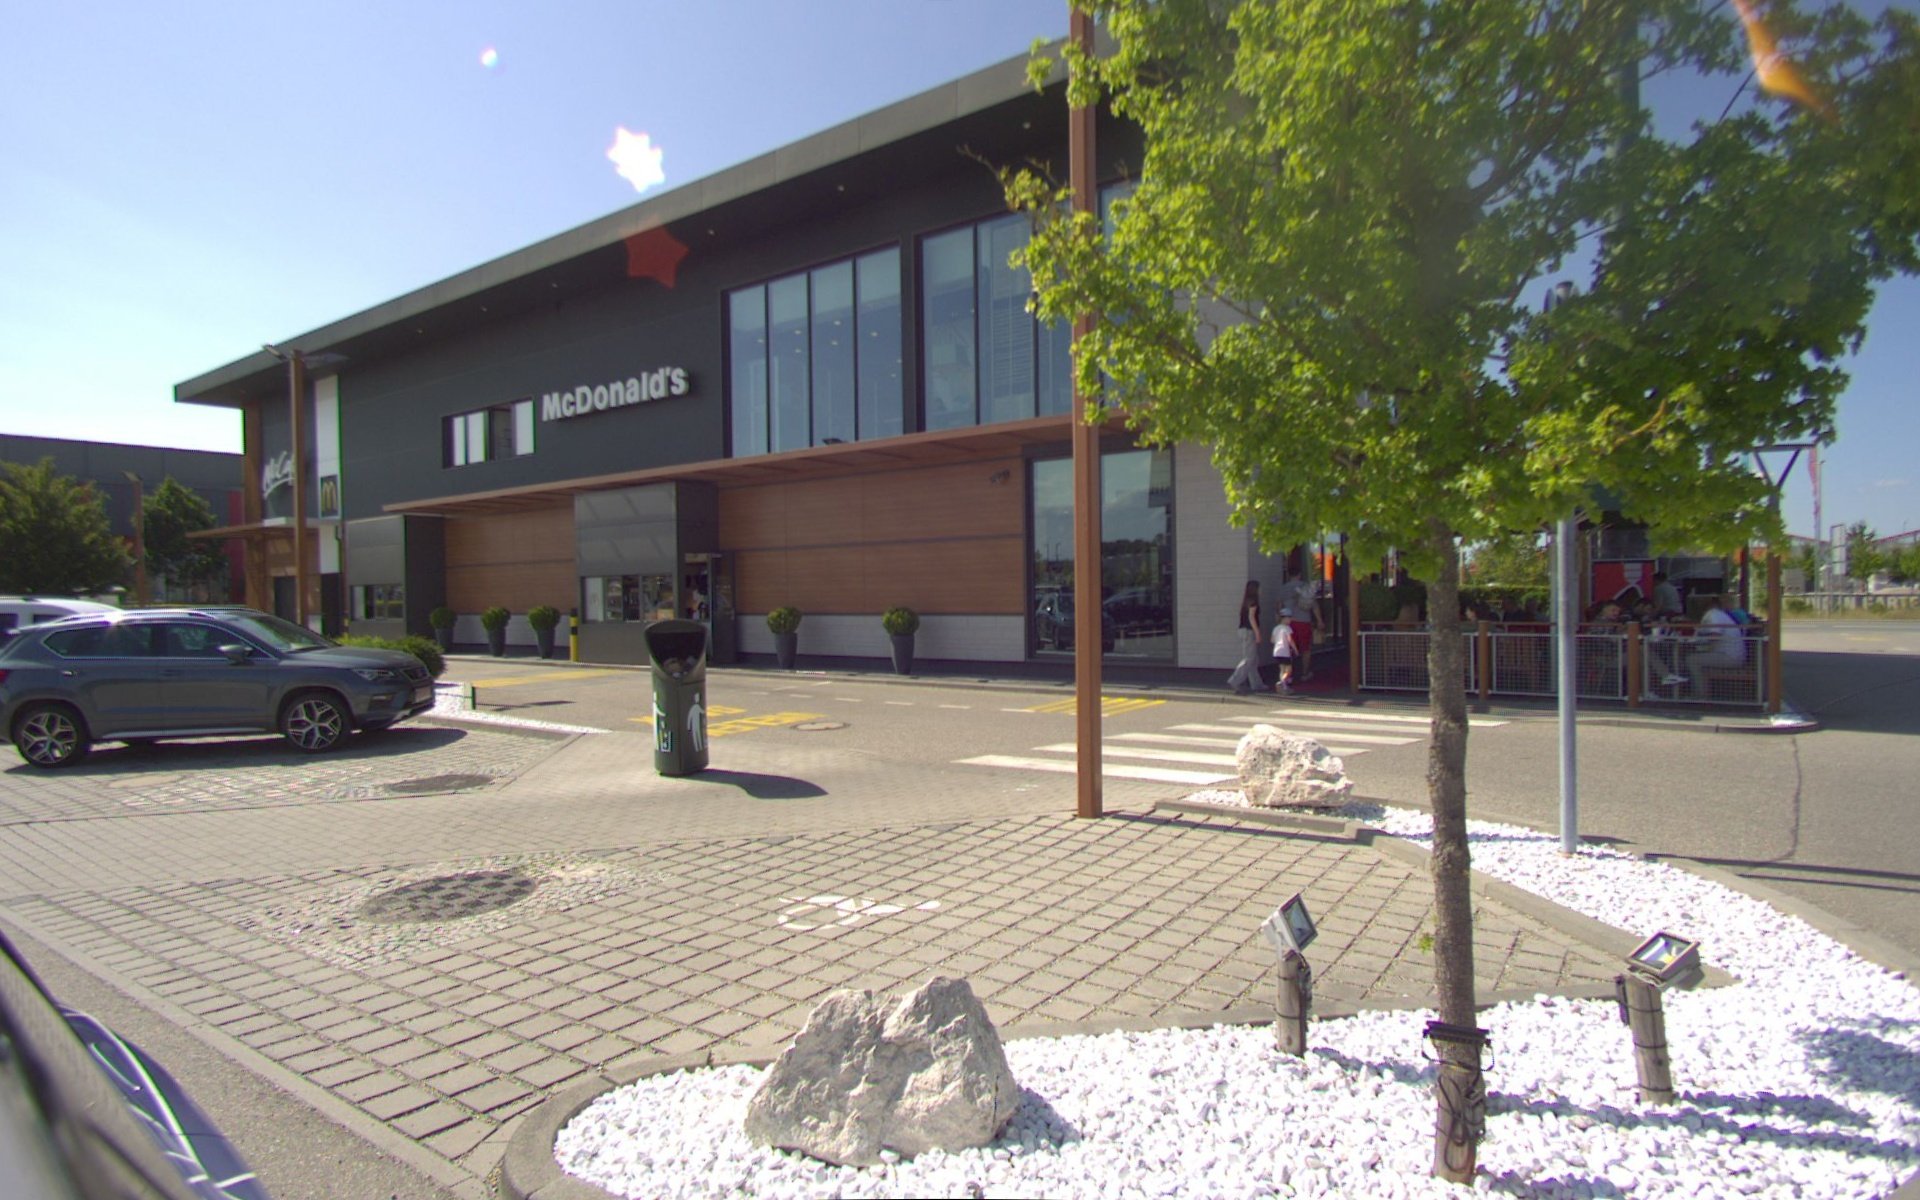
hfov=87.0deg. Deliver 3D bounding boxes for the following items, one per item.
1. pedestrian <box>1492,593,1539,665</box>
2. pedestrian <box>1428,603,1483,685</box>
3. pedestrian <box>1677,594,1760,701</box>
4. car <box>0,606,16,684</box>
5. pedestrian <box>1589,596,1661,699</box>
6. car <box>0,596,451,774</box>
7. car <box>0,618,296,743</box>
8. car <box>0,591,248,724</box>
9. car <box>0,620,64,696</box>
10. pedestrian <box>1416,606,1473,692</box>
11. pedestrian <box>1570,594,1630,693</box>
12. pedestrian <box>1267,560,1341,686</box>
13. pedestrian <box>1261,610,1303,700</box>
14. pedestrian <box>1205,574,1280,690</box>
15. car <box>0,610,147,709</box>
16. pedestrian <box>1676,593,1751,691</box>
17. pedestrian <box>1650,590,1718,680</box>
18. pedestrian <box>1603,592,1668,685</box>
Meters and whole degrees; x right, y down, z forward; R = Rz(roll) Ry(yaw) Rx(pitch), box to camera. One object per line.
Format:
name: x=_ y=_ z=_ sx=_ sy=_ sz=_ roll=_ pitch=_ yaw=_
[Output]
pedestrian: x=8.784 y=0.447 z=15.993 sx=0.572 sy=1.109 sz=0.649 roll=-1 pitch=-1 yaw=35
pedestrian: x=7.063 y=0.613 z=14.417 sx=0.632 sy=1.132 sz=0.518 roll=-1 pitch=-1 yaw=32
pedestrian: x=9.267 y=0.564 z=12.387 sx=0.727 sy=1.267 sz=0.567 roll=-1 pitch=-1 yaw=31
car: x=-23.215 y=1.040 z=21.763 sx=3.971 sy=1.718 sz=1.680 roll=-1 pitch=1 yaw=-32
pedestrian: x=8.363 y=0.584 z=12.756 sx=0.713 sy=1.267 sz=0.518 roll=-1 pitch=-1 yaw=32
car: x=-8.409 y=0.885 z=11.650 sx=4.159 sy=1.615 sz=1.795 roll=-3 pitch=2 yaw=-9
car: x=-11.286 y=1.042 z=13.830 sx=3.357 sy=1.493 sz=1.573 roll=-1 pitch=0 yaw=-16
car: x=-13.905 y=0.857 z=15.897 sx=4.075 sy=1.936 sz=1.763 roll=-1 pitch=0 yaw=-14
car: x=-20.324 y=1.181 z=19.903 sx=3.707 sy=1.455 sz=1.680 roll=-1 pitch=0 yaw=-26
pedestrian: x=6.595 y=0.660 z=13.771 sx=0.632 sy=1.132 sz=0.518 roll=-1 pitch=-1 yaw=32
pedestrian: x=8.450 y=0.562 z=13.372 sx=0.632 sy=1.267 sz=0.518 roll=-1 pitch=-1 yaw=32
pedestrian: x=5.079 y=0.329 z=14.926 sx=0.892 sy=1.781 sz=0.796 roll=-1 pitch=-1 yaw=27
pedestrian: x=4.399 y=0.740 z=13.813 sx=0.447 sy=1.195 sz=0.486 roll=-1 pitch=-1 yaw=30
pedestrian: x=4.016 y=0.443 z=14.383 sx=0.718 sy=1.596 sz=0.742 roll=0 pitch=-1 yaw=-44
car: x=-17.064 y=1.037 z=17.934 sx=3.778 sy=1.644 sz=1.764 roll=-1 pitch=0 yaw=-20
pedestrian: x=10.095 y=0.548 z=13.589 sx=0.727 sy=1.267 sz=0.567 roll=-1 pitch=-1 yaw=31
pedestrian: x=10.562 y=0.499 z=14.784 sx=0.727 sy=1.267 sz=0.567 roll=-1 pitch=-1 yaw=31
pedestrian: x=9.420 y=0.528 z=14.136 sx=0.713 sy=1.267 sz=0.518 roll=-1 pitch=-1 yaw=32
